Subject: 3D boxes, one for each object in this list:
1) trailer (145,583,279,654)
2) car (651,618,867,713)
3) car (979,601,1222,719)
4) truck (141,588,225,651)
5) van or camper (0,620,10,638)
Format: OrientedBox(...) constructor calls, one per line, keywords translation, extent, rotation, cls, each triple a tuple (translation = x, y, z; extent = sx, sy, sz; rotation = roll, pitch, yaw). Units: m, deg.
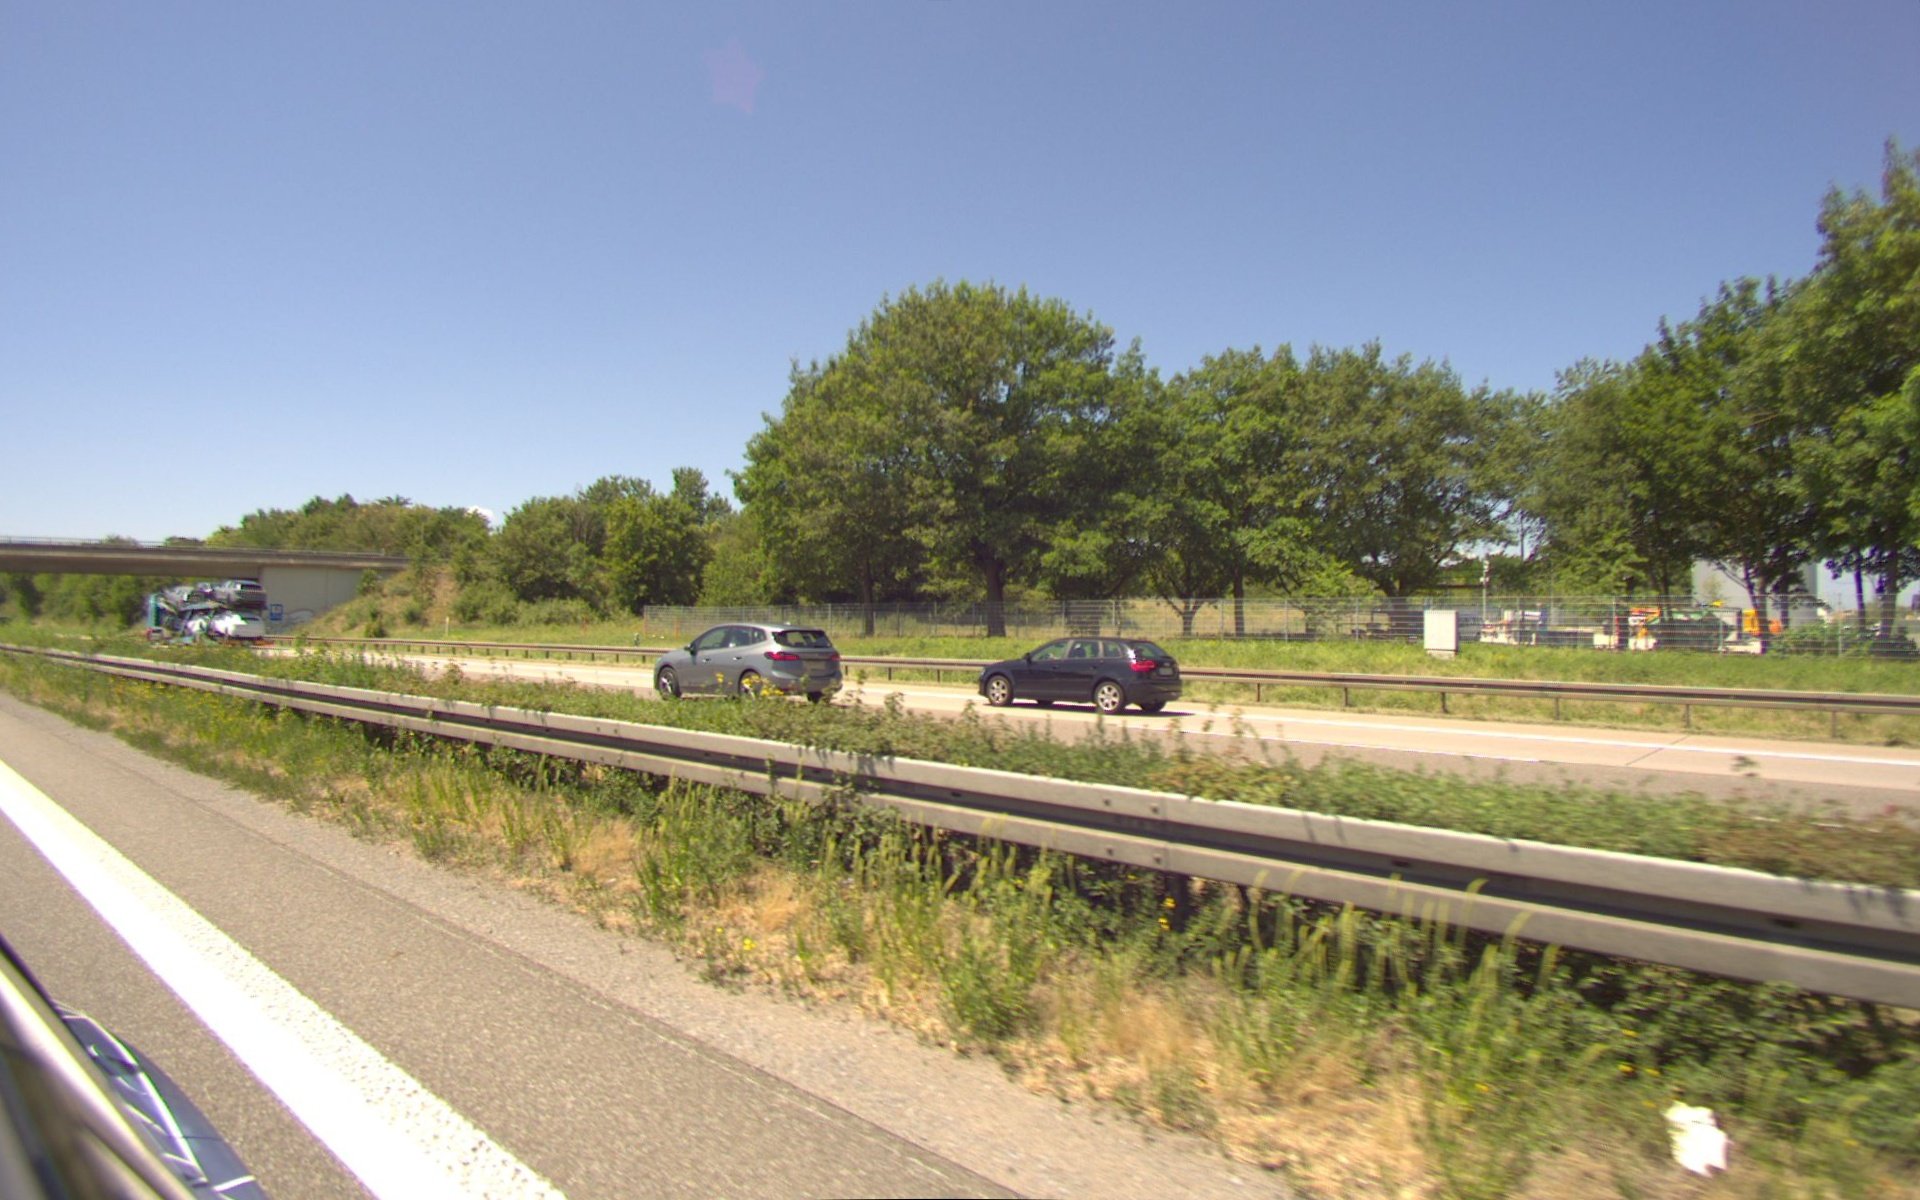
OrientedBox(translation=(-48.090, 1.211, 64.662), extent=(17.463, 4.009, 2.849), rotation=(-1, -4, 41), cls="trailer")
OrientedBox(translation=(-3.881, 1.157, 19.190), extent=(4.209, 1.590, 1.774), rotation=(-1, -2, 40), cls="car")
OrientedBox(translation=(2.629, 1.088, 19.509), extent=(4.270, 2.029, 1.973), rotation=(-1, -3, 41), cls="car")
OrientedBox(translation=(-52.824, 1.335, 68.733), extent=(7.367, 4.006, 2.849), rotation=(-1, -4, 41), cls="truck")
OrientedBox(translation=(-102.543, 3.076, 107.418), extent=(4.452, 1.884, 1.973), rotation=(-1, -3, 40), cls="van or camper")
